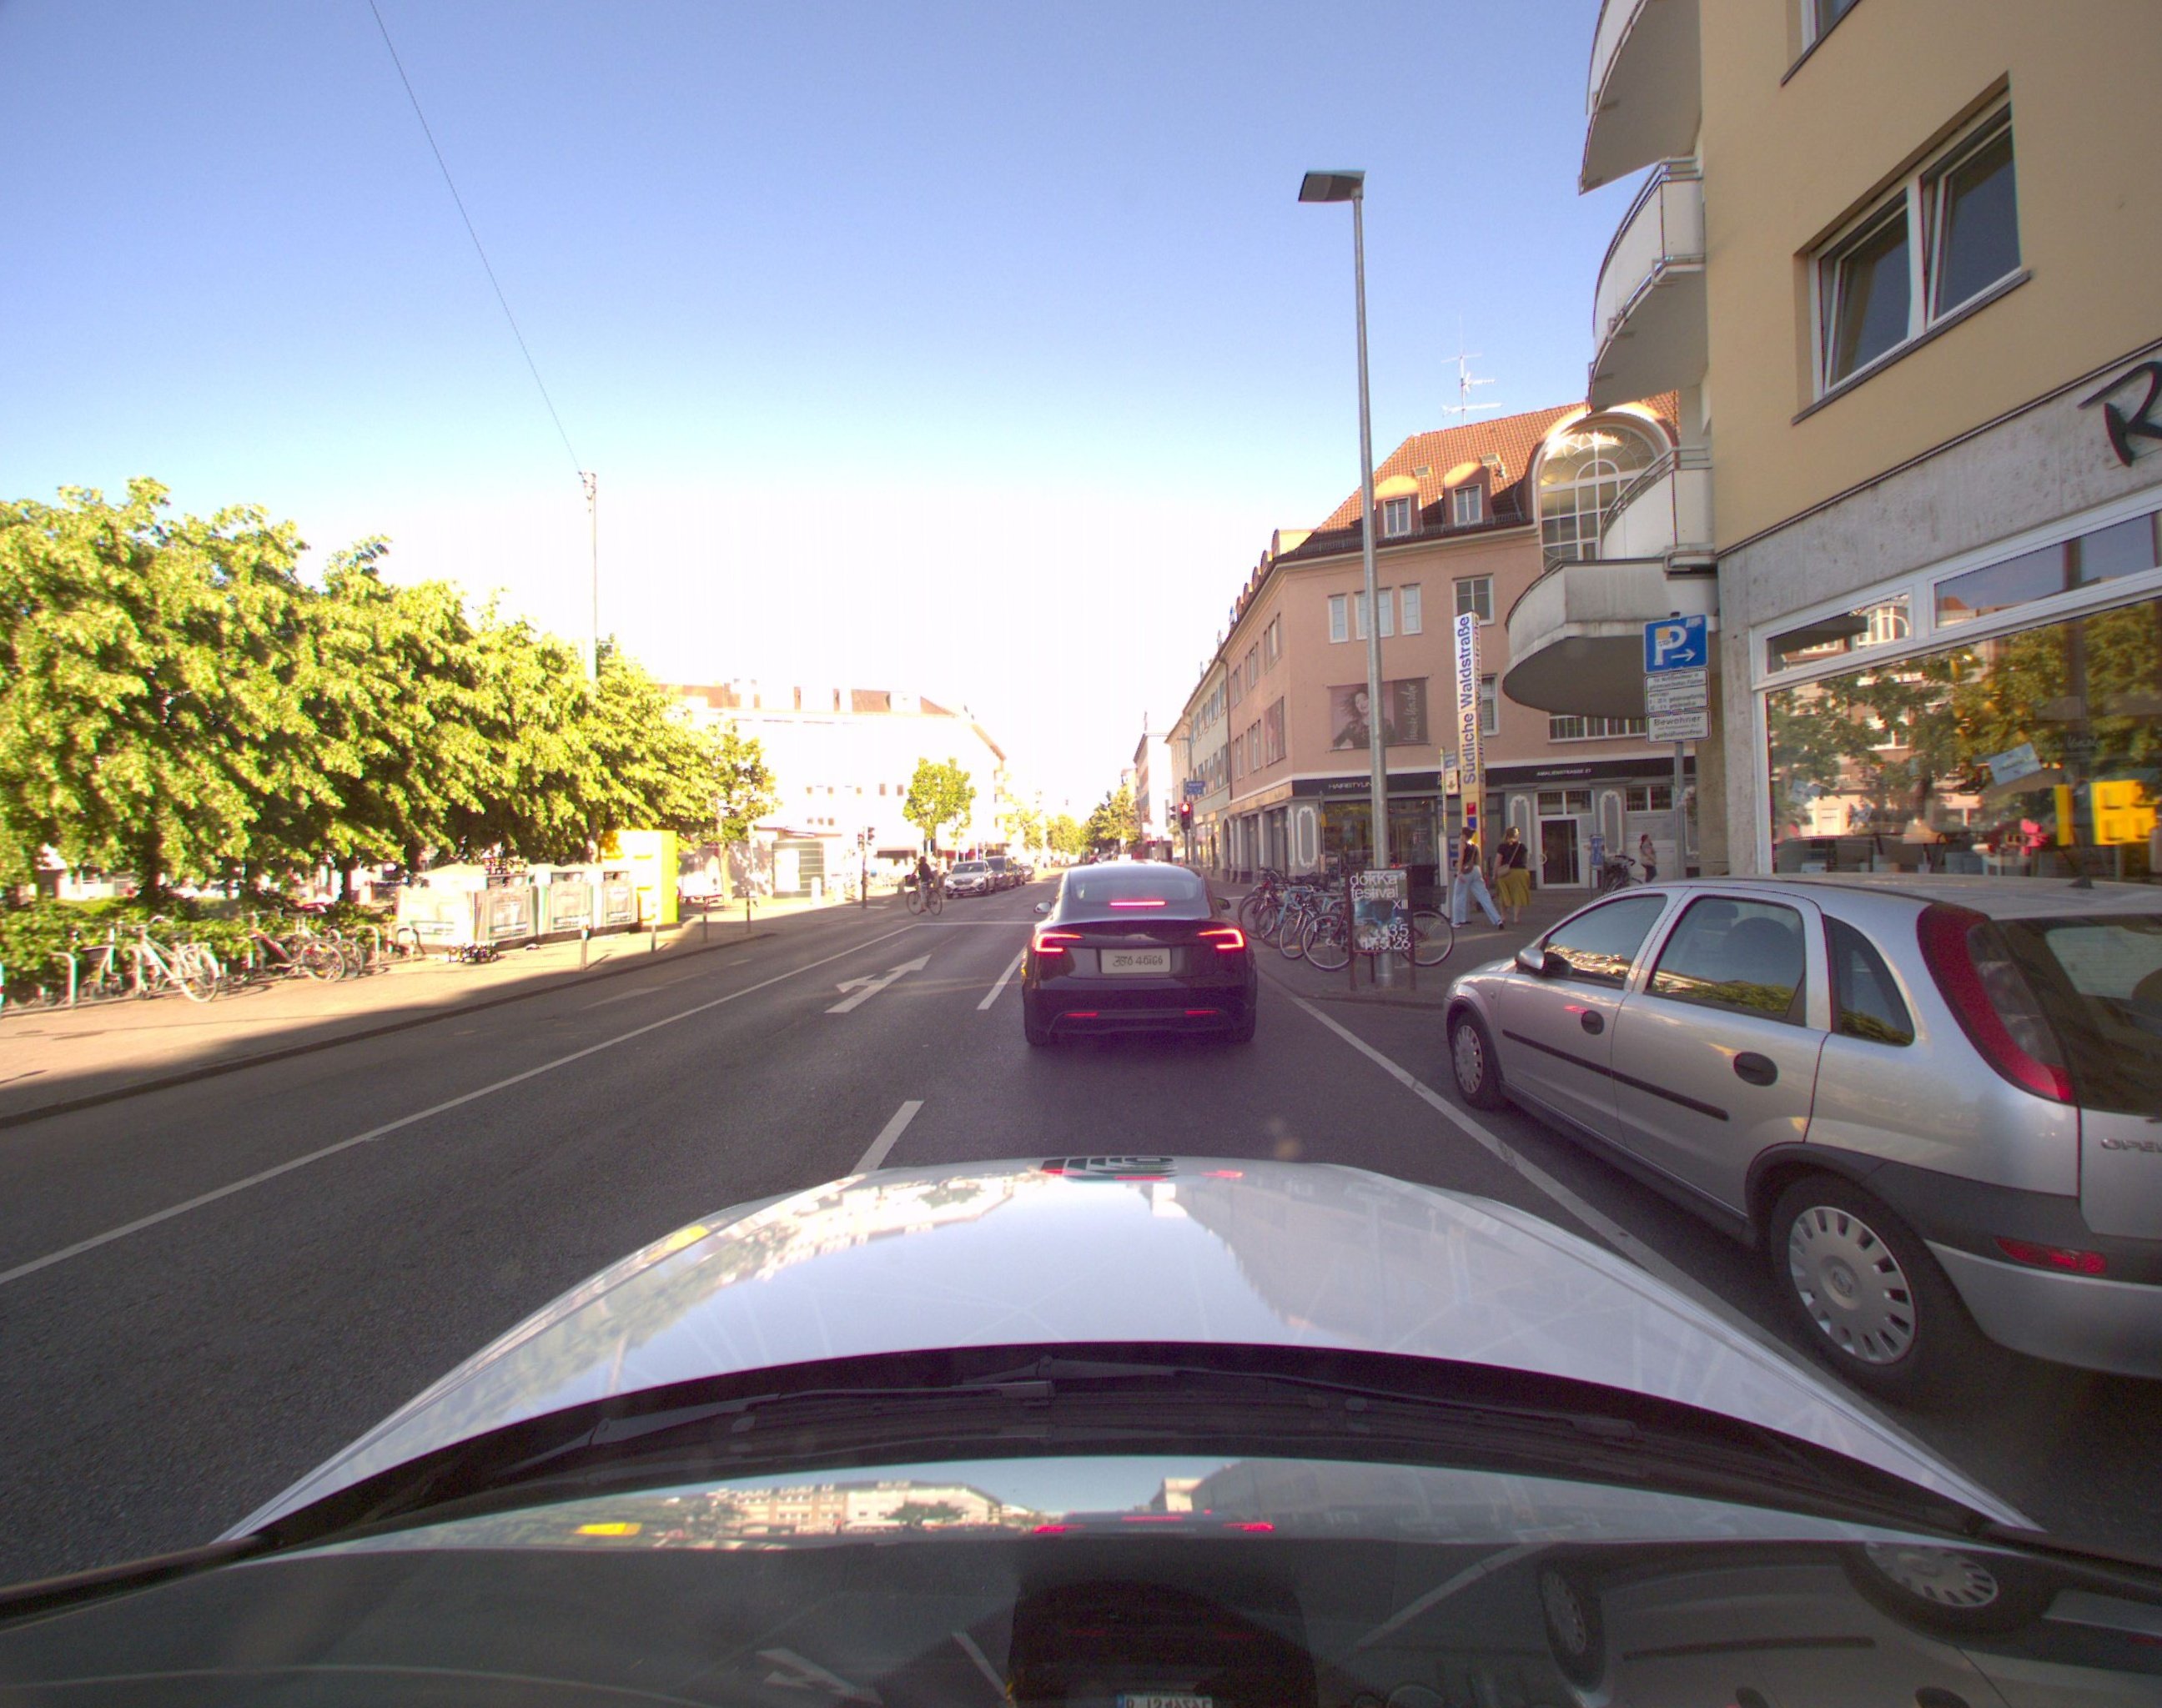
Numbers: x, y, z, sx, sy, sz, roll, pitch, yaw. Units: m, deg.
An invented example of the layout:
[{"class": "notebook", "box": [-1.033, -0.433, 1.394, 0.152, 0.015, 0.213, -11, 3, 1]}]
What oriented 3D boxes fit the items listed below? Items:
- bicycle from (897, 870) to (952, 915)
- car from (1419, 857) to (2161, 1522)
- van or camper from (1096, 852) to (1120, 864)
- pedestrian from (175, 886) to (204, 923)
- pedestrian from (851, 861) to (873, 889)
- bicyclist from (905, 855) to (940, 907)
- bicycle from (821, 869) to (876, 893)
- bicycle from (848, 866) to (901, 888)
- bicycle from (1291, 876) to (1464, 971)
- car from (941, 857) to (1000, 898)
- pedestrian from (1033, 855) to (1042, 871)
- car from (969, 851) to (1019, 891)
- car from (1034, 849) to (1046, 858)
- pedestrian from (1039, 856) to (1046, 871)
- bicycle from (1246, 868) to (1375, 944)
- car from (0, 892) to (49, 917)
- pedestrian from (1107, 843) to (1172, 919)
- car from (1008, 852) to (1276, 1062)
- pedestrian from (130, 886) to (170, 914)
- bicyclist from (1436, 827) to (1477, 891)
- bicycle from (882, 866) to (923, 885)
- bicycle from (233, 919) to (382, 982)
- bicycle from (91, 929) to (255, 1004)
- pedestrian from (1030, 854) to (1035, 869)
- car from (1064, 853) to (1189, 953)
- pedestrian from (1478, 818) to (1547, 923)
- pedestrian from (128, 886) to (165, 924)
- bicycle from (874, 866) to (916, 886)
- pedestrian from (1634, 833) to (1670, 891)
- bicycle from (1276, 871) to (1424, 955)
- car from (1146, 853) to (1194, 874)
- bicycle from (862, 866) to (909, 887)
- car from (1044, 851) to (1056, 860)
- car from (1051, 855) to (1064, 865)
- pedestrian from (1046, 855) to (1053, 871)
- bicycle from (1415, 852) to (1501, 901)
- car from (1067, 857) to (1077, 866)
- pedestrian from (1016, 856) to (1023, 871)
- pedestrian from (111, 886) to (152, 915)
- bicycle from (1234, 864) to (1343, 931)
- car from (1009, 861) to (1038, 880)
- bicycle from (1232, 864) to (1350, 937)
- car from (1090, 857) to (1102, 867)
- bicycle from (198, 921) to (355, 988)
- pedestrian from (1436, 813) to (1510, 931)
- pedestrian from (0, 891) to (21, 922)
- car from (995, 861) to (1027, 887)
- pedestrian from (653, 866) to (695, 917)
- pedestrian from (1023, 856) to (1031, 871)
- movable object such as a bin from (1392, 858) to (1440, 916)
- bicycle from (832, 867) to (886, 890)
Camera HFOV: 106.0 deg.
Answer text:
[{"class": "bicycle", "box": [-4.518, 1.123, 23.472, 0.633, 1.223, 1.977, -1, -3, -40]}, {"class": "car", "box": [2.957, 0.735, 3.543, 1.578, 1.426, 3.581, 0, -1, 2]}, {"class": "van or camper", "box": [5.644, 0.841, 167.657, 4.832, 2.438, 1.851, -1, 0, 1]}, {"class": "pedestrian", "box": [-38.103, 2.131, 34.812, 0.827, 1.520, 0.782, -1, -1, 38]}, {"class": "pedestrian", "box": [-12.620, 1.209, 47.006, 1.093, 1.611, 1.262, 0, -1, -11]}, {"class": "bicyclist", "box": [-4.591, 0.766, 23.555, 0.611, 1.484, 0.947, 0, -1, -39]}, {"class": "bicycle", "box": [-12.326, 1.433, 43.243, 2.652, 1.195, 0.942, 0, -1, -1]}, {"class": "bicycle", "box": [-12.155, 1.358, 47.982, 2.867, 1.270, 0.942, 0, -1, -1]}, {"class": "bicycle", "box": [3.633, 0.842, 10.080, 1.875, 1.044, 0.653, -2, 0, 3]}, {"class": "car", "box": [-4.885, 1.011, 36.596, 1.818, 1.565, 4.302, -5, -1, 2]}, {"class": "pedestrian", "box": [-5.102, 1.092, 94.886, 0.726, 1.868, 0.796, -1, -1, 30]}, {"class": "car", "box": [-4.496, 0.830, 42.918, 1.938, 1.947, 4.822, -1, 0, 2]}, {"class": "car", "box": [-9.009, -0.025, 180.136, 2.266, 2.014, 4.720, 0, -1, 3]}, {"class": "pedestrian", "box": [-4.728, 1.140, 101.156, 0.696, 1.868, 0.905, 0, -1, -14]}, {"class": "bicycle", "box": [3.516, 0.787, 12.564, 1.806, 1.102, 0.653, -1, 0, 3]}, {"class": "car", "box": [-72.700, 3.439, 54.804, 4.117, 1.530, 1.547, -1, 0, -8]}, {"class": "pedestrian", "box": [1.381, 0.610, 19.169, 1.099, 1.719, 1.068, -1, -1, 36]}, {"class": "car", "box": [0.493, 0.735, 7.880, 1.843, 1.447, 4.453, 0, 0, 2]}, {"class": "pedestrian", "box": [-41.832, 2.061, 36.611, 0.857, 1.214, 0.904, -1, -1, 17]}, {"class": "bicyclist", "box": [9.792, 0.133, 21.268, 0.819, 1.614, 0.582, -3, 0, 18]}, {"class": "bicycle", "box": [-12.053, 1.415, 55.002, 2.535, 1.251, 0.942, 0, -1, -1]}, {"class": "bicycle", "box": [-11.464, 1.421, 12.100, 1.663, 0.859, 0.469, 0, -1, -5]}, {"class": "bicycle", "box": [-11.464, 1.413, 10.304, 1.560, 0.886, 0.470, 0, -1, 1]}, {"class": "pedestrian", "box": [-6.211, 0.969, 104.222, 0.693, 1.868, 0.658, 0, -1, -3]}, {"class": "car", "box": [0.739, 0.746, 14.304, 1.843, 1.482, 4.453, 0, 0, 2]}, {"class": "pedestrian", "box": [7.581, 0.288, 14.346, 0.717, 1.754, 0.789, -4, -1, 7]}, {"class": "pedestrian", "box": [-39.386, 2.150, 34.322, 0.928, 1.520, 0.924, 0, -1, -43]}, {"class": "bicycle", "box": [-11.999, 1.395, 52.575, 2.535, 1.251, 0.942, 0, -1, -1]}, {"class": "pedestrian", "box": [15.770, 0.222, 22.518, 0.714, 1.549, 0.797, -1, -1, 29]}, {"class": "bicycle", "box": [3.653, 0.794, 11.152, 1.806, 1.060, 0.653, -1, 0, 3]}, {"class": "car", "box": [8.148, 0.867, 74.646, 4.006, 1.867, 1.686, -1, 0, -20]}, {"class": "bicycle", "box": [-12.054, 1.381, 50.299, 2.655, 1.259, 0.942, 0, -1, -1]}, {"class": "car", "box": [-7.152, 0.278, 188.731, 2.266, 2.014, 4.720, 0, -1, 3]}, {"class": "car", "box": [-4.849, 1.311, 166.806, 2.405, 1.970, 4.679, -1, 0, 2]}, {"class": "pedestrian", "box": [-3.797, 1.109, 98.129, 0.773, 1.868, 1.007, 0, -1, -5]}, {"class": "bicycle", "box": [9.814, 0.586, 21.275, 1.938, 1.158, 0.578, -4, -1, 18]}, {"class": "car", "box": [-1.986, 1.766, 187.427, 2.124, 1.970, 4.135, -1, 0, 2]}, {"class": "pedestrian", "box": [-7.361, 1.128, 97.275, 0.734, 1.868, 0.787, 0, -1, -15]}, {"class": "pedestrian", "box": [-41.624, 2.047, 35.705, 0.926, 1.214, 0.873, -1, -1, 17]}, {"class": "bicycle", "box": [3.735, 0.780, 14.768, 1.806, 1.152, 0.653, -1, 0, 3]}, {"class": "car", "box": [-4.242, 1.189, 60.468, 1.687, 1.390, 3.918, 0, 0, 3]}, {"class": "bicycle", "box": [3.494, 0.772, 13.639, 1.806, 1.152, 0.653, -1, 0, 3]}, {"class": "car", "box": [2.853, 1.434, 154.569, 2.032, 1.788, 4.000, -1, 0, -4]}, {"class": "bicycle", "box": [-11.429, 1.419, 11.601, 1.667, 0.859, 0.469, 0, -1, -5]}, {"class": "pedestrian", "box": [6.552, 0.298, 13.655, 0.678, 1.849, 0.894, -5, -1, 3]}, {"class": "pedestrian", "box": [-66.381, 3.245, 49.940, 1.305, 1.842, 1.091, 0, -1, -31]}, {"class": "car", "box": [-4.257, 1.199, 50.044, 1.455, 1.430, 3.607, -5, -1, 2]}, {"class": "pedestrian", "box": [-12.644, 1.164, 25.311, 0.917, 1.543, 0.696, 0, -1, 6]}, {"class": "pedestrian", "box": [-6.479, 1.124, 97.556, 0.734, 1.868, 0.787, 0, -1, -15]}, {"class": "movable object such as a bin", "box": [6.743, 0.656, 16.424, 0.633, 1.103, 0.728, -4, -1, 5]}, {"class": "bicycle", "box": [-12.394, 1.365, 45.586, 2.772, 1.274, 0.933, 0, -1, -2]}]
